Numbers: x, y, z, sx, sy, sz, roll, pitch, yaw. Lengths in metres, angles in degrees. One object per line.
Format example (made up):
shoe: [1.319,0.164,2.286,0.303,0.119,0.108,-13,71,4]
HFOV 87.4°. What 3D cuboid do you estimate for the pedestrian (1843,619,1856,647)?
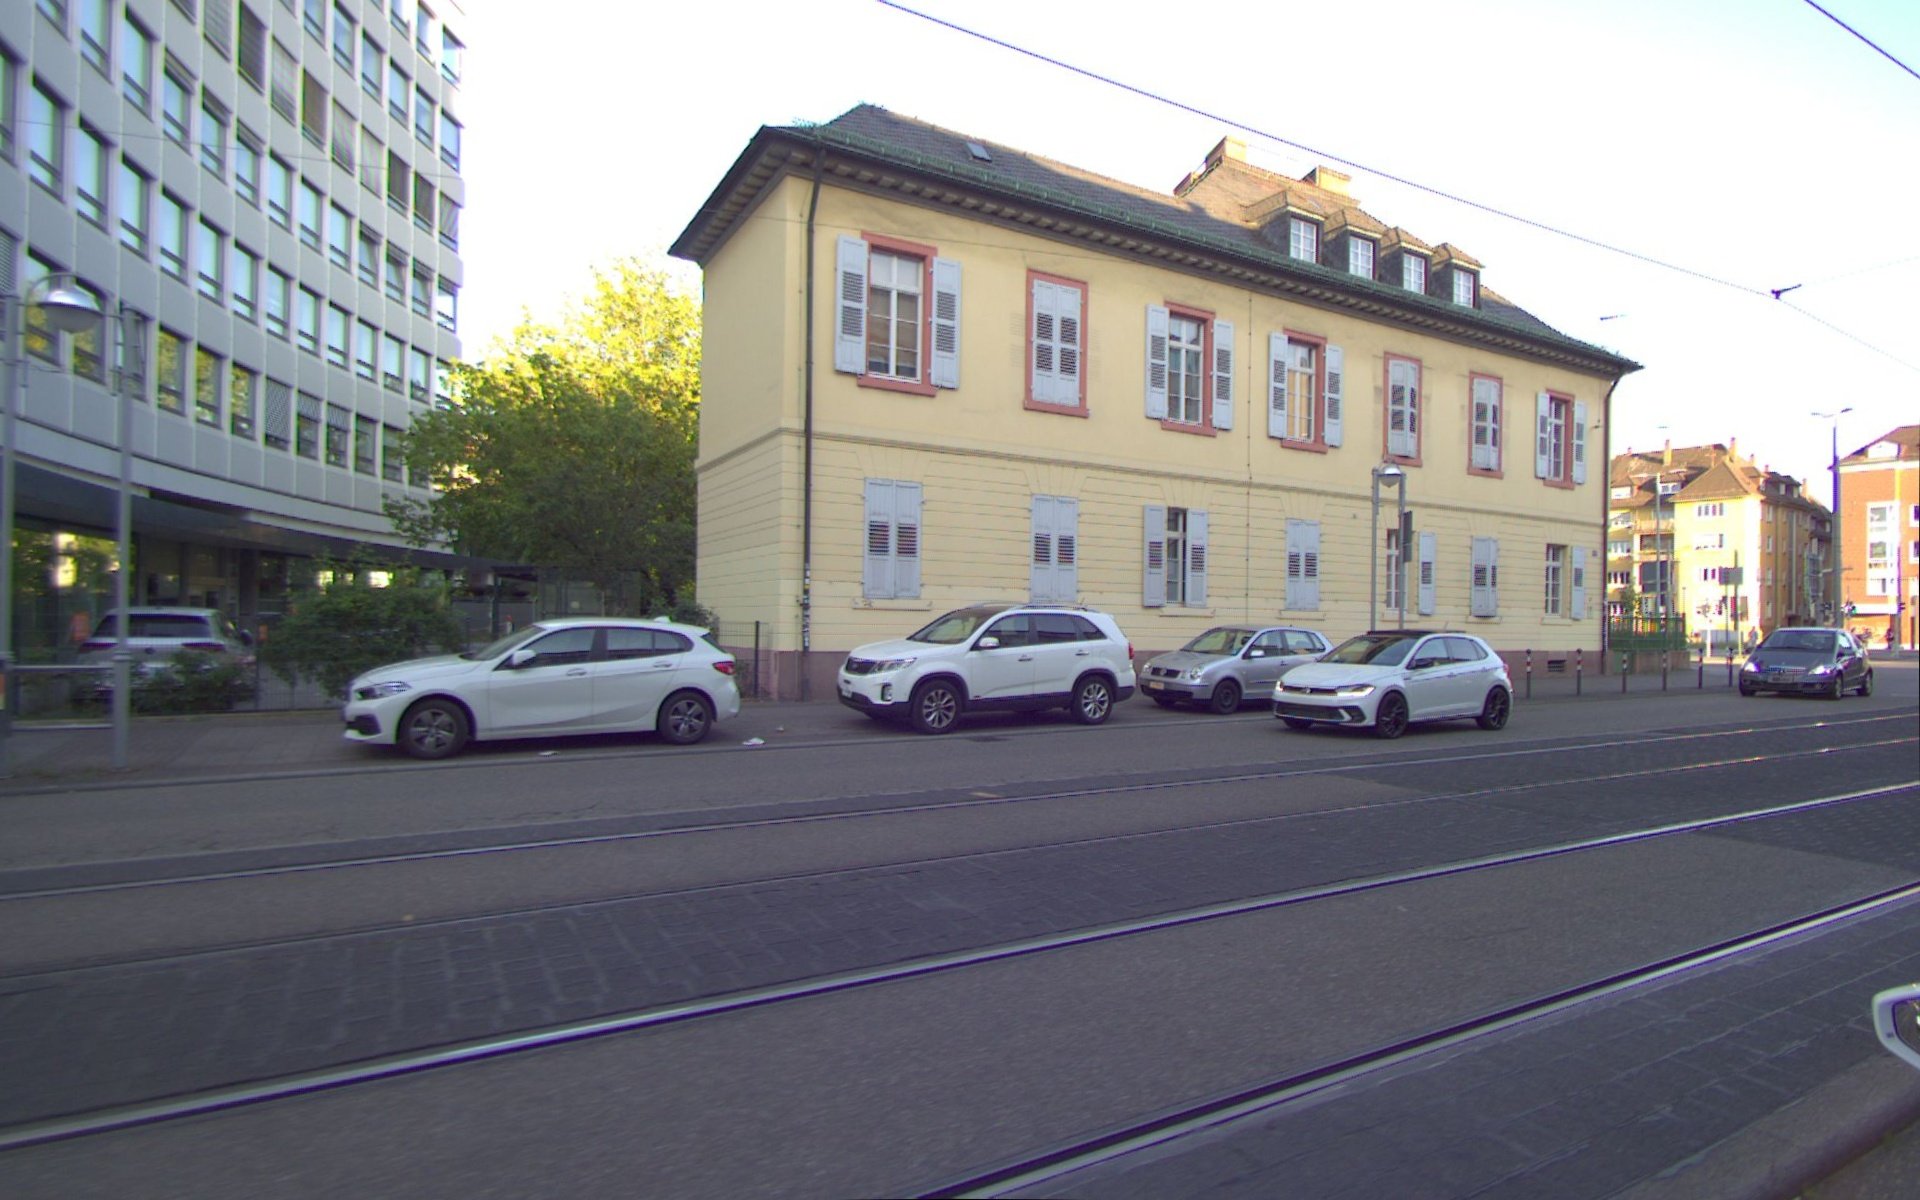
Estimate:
pedestrian: [61.530,2.291,69.466,0.557,1.893,0.499,1,1,-35]

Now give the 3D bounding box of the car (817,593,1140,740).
car: [0.335,0.889,14.709,4.448,1.809,1.802,1,2,-33]

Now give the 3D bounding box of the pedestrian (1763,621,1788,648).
pedestrian: [59.308,2.487,73.051,1.078,1.970,1.025,0,-1,8]

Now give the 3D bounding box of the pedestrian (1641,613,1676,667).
pedestrian: [25.307,1.437,36.394,0.751,1.918,0.729,1,-1,-6]

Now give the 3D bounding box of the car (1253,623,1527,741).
car: [6.414,1.122,14.900,3.989,1.532,1.797,1,-1,-32]

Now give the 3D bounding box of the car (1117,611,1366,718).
car: [5.002,1.056,17.774,4.163,1.639,1.804,1,1,-29]

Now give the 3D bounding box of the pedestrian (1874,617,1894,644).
pedestrian: [68.651,2.262,74.663,0.831,1.893,0.932,1,1,-39]

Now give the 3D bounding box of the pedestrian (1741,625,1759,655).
pedestrian: [49.849,2.526,63.361,0.872,1.892,0.972,0,-1,39]

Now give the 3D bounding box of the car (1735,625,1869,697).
car: [19.622,1.353,23.360,4.001,1.532,1.721,1,-1,-40]

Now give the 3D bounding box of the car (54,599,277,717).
car: [-11.510,0.776,14.864,1.823,1.486,3.972,1,-1,-27]

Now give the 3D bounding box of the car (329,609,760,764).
car: [-4.753,0.911,11.831,4.377,1.532,1.805,1,-1,-29]

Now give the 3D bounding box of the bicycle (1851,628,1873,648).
bicycle: [62.133,2.607,69.182,1.995,1.343,0.614,1,1,-35]
